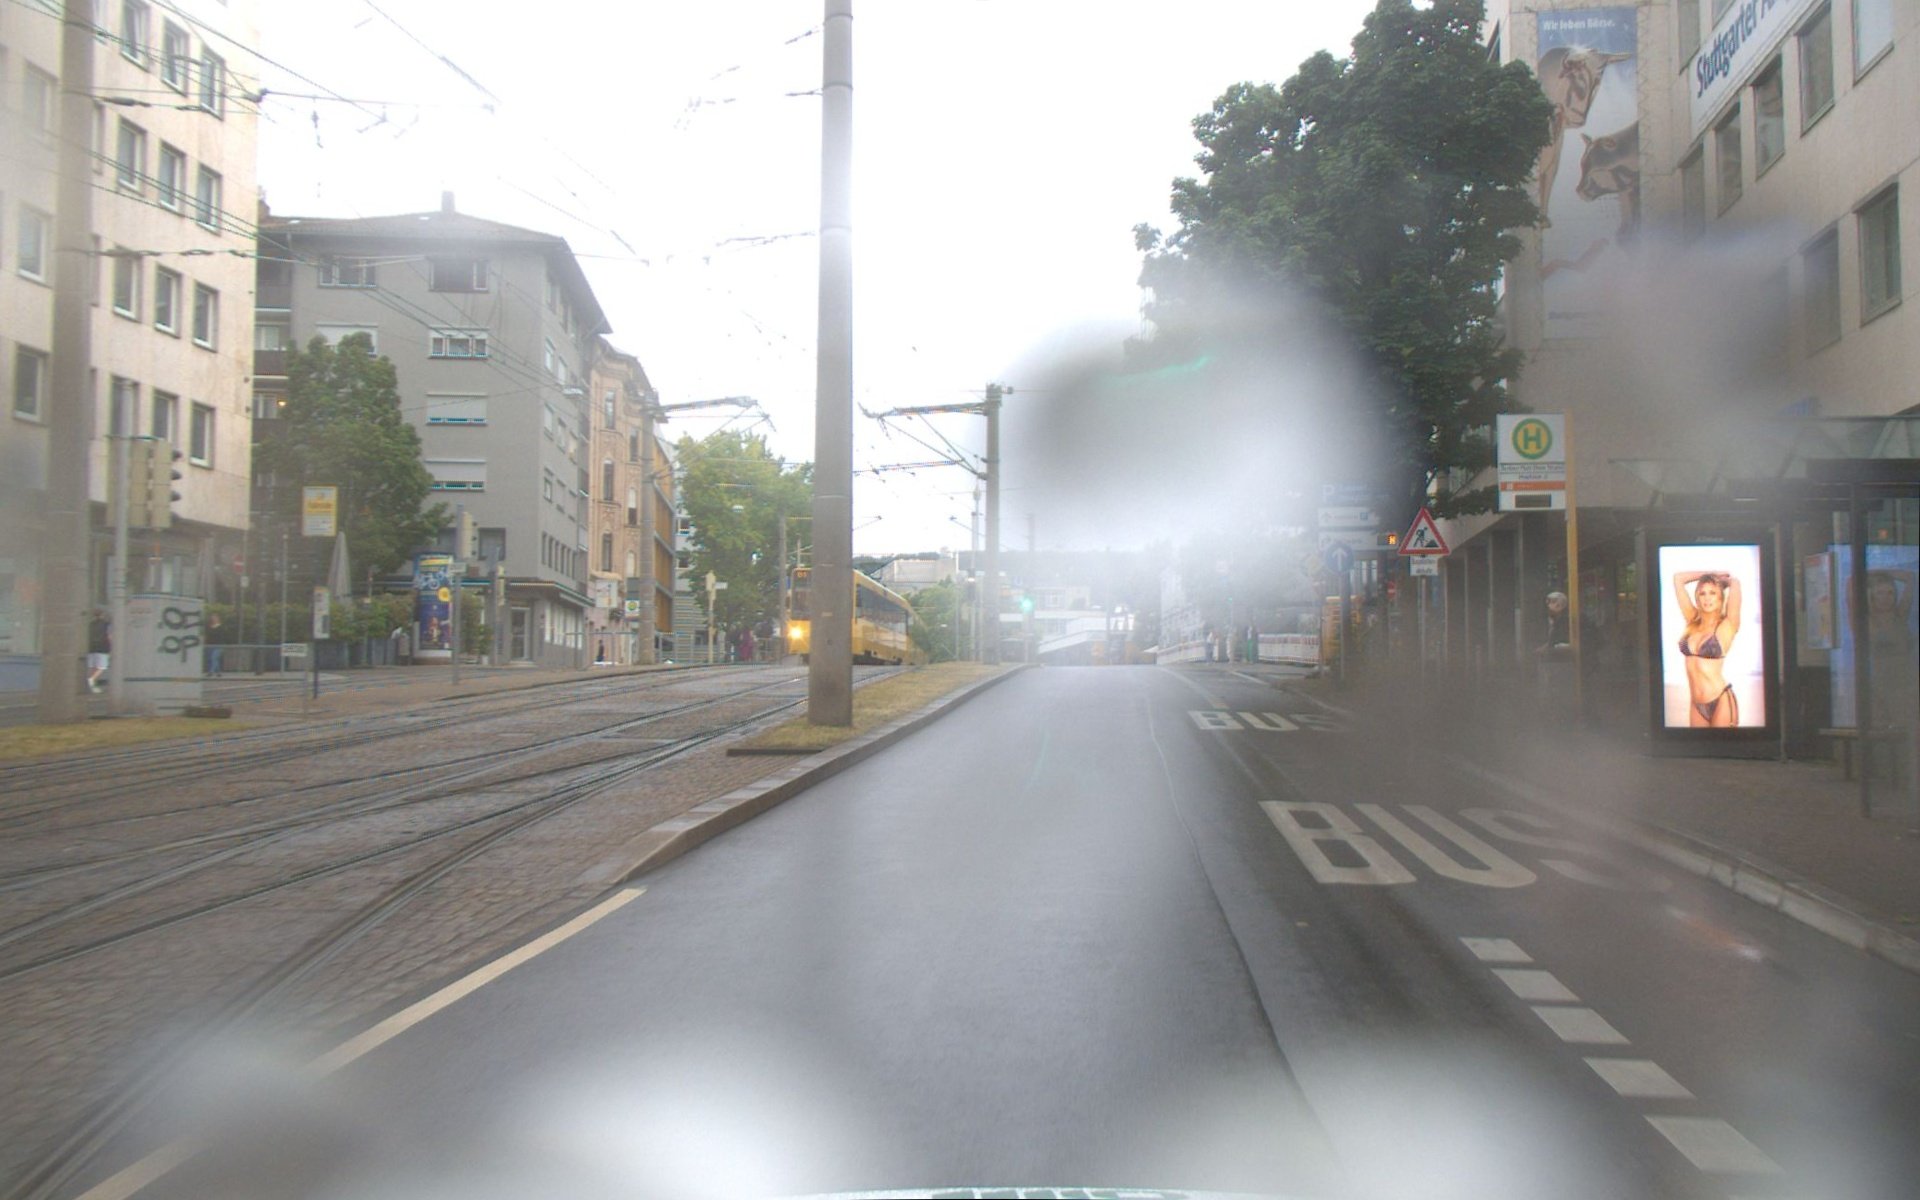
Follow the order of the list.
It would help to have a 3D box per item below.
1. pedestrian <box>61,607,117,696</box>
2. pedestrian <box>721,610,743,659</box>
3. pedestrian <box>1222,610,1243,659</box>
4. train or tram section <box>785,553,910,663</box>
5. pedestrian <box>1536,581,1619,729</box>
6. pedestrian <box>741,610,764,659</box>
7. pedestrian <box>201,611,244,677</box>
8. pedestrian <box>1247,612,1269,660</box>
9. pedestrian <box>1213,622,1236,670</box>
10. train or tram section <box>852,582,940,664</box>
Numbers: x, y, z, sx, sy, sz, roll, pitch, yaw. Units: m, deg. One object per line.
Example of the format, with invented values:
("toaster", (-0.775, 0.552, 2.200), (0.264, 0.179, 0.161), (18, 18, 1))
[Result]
("pedestrian", (-17.434, 1.022, 33.126), (0.584, 1.768, 0.910), (0, -1, 4))
("pedestrian", (-8.591, 1.284, 62.342), (0.717, 1.822, 0.697), (0, -1, 4))
("pedestrian", (10.517, 1.333, 63.766), (0.685, 1.847, 0.977), (0, -1, 2))
("train or tram section", (-4.259, 0.627, 67.945), (2.688, 3.762, 18.975), (0, -2, 3))
("pedestrian", (7.080, 0.623, 18.999), (0.651, 1.655, 0.968), (0, -1, 5))
("pedestrian", (-7.809, 1.278, 62.170), (0.717, 1.822, 0.697), (0, -1, 4))
("pedestrian", (-17.945, 1.073, 40.258), (0.663, 1.576, 0.777), (0, -1, 4))
("pedestrian", (11.427, 1.366, 63.425), (0.685, 1.816, 1.067), (0, -1, 2))
("pedestrian", (9.882, 1.715, 61.847), (0.721, 1.760, 1.119), (0, -1, 2))
("train or tram section", (-3.121, 1.443, 86.854), (2.688, 3.762, 18.975), (0, -2, 3))
